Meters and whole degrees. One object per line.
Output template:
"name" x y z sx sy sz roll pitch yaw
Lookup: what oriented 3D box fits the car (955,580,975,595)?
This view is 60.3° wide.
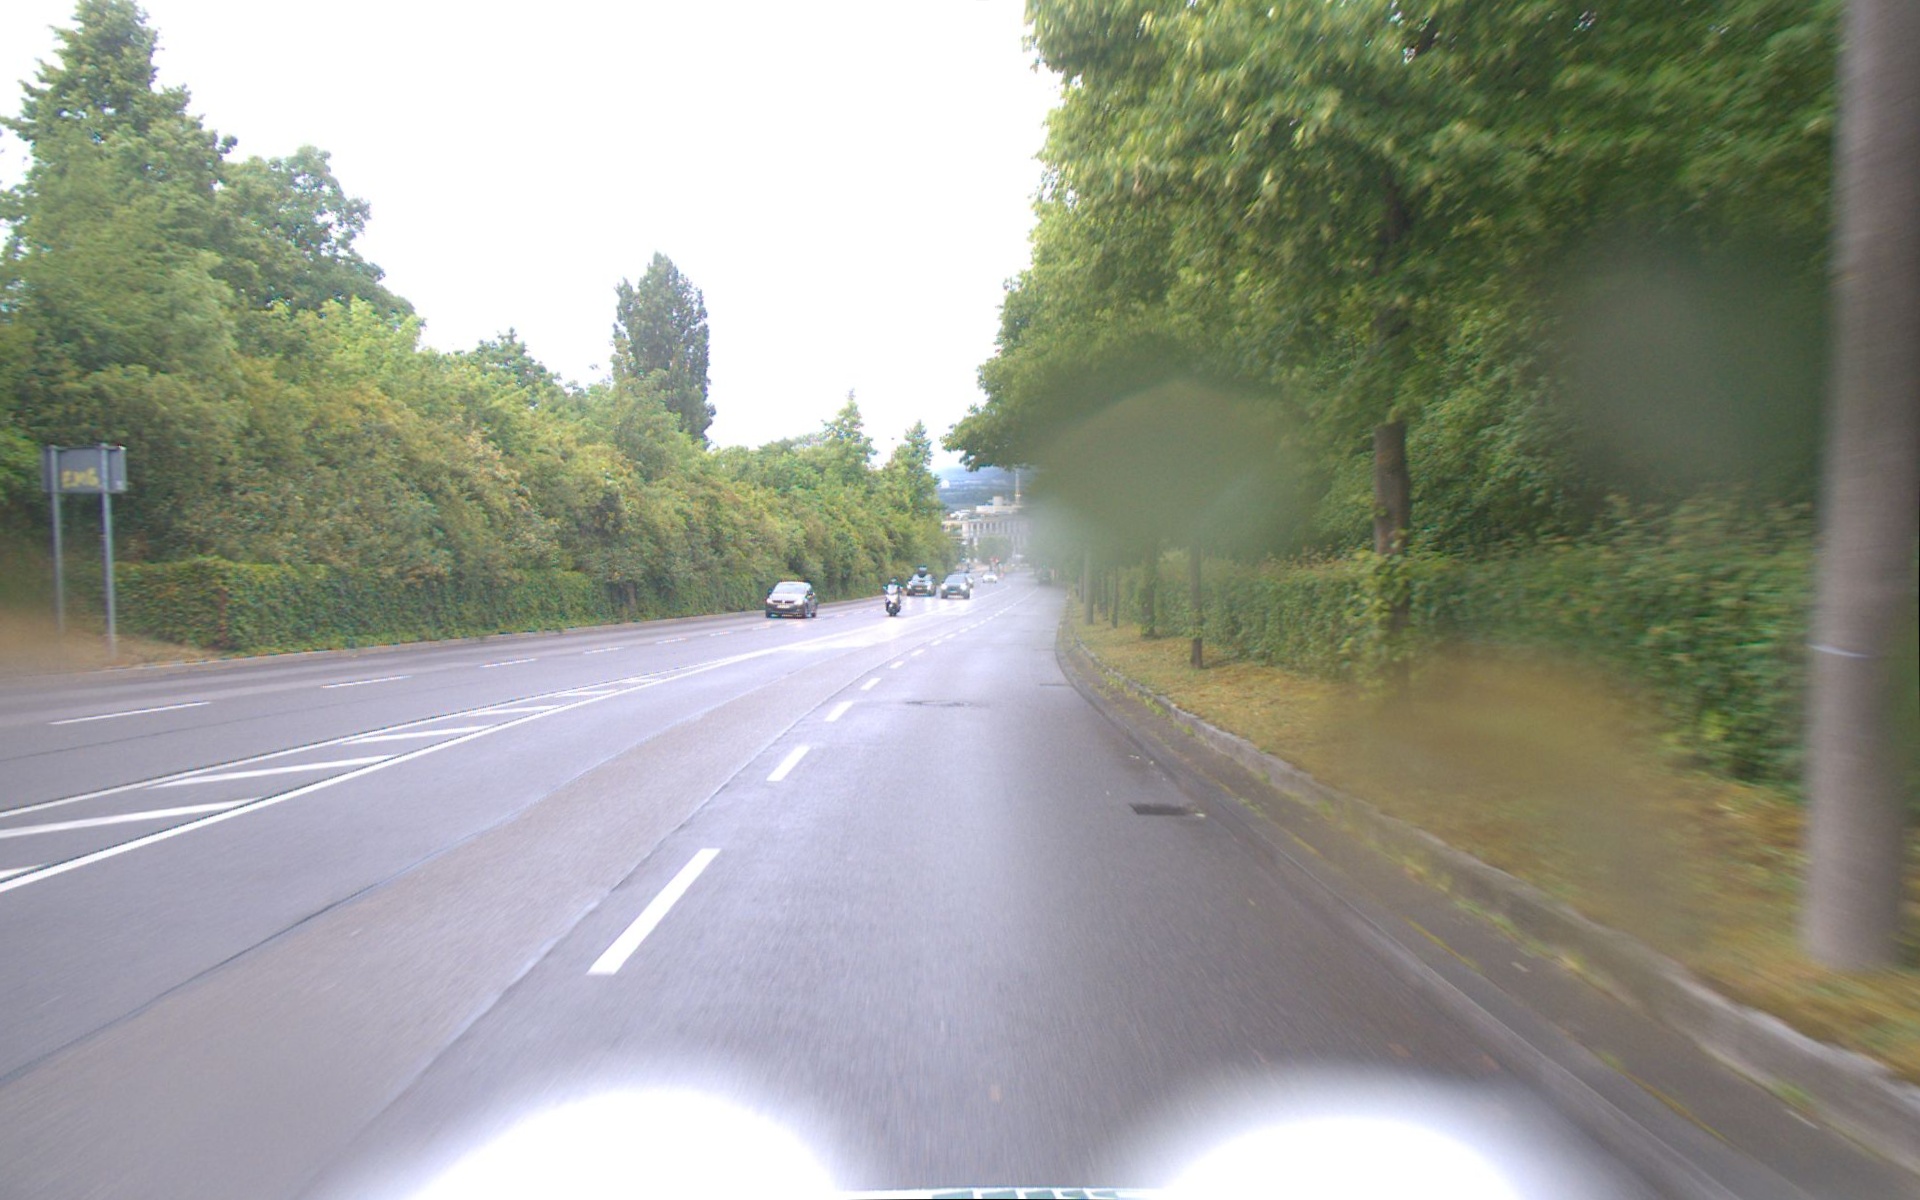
"car" 0.534 -1.334 173.093 1.723 1.405 4.841 2 1 4

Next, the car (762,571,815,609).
"car" -6.867 -0.396 66.554 1.516 1.462 3.697 1 0 3

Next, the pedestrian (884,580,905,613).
"pedestrian" -2.928 -0.155 73.826 0.774 1.408 0.975 2 0 3

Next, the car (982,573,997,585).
"car" 4.071 -2.900 226.812 1.679 1.531 4.519 2 1 4

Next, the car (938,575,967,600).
"car" -0.517 -0.909 119.510 1.774 1.686 4.597 2 1 3

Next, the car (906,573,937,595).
"car" -2.944 -1.186 125.896 1.859 1.580 4.633 2 1 4

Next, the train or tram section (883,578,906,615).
"train or tram section" -2.927 -0.155 73.822 0.774 1.597 2.385 2 0 3

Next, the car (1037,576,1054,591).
"car" 10.428 -2.021 201.721 1.810 1.731 3.795 2 0 5
